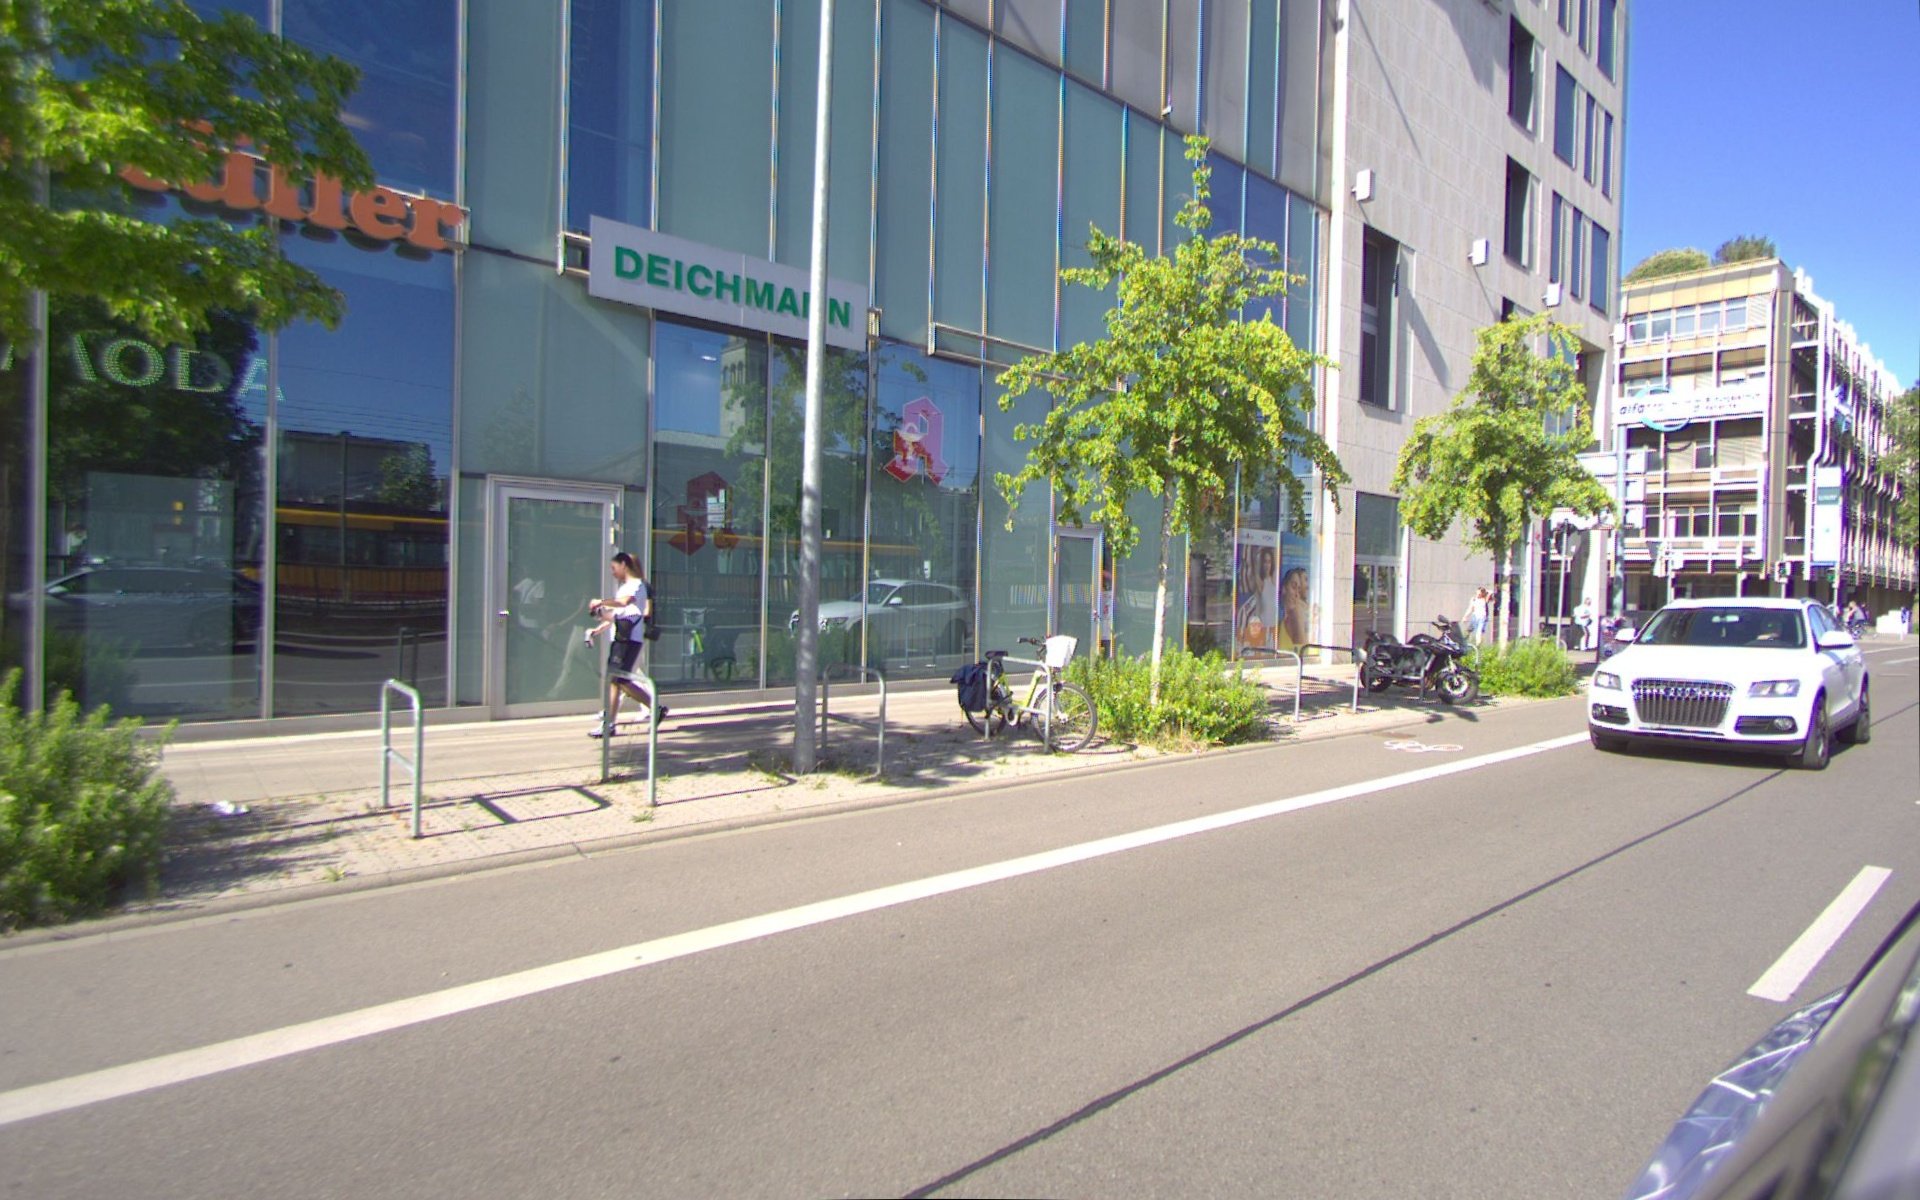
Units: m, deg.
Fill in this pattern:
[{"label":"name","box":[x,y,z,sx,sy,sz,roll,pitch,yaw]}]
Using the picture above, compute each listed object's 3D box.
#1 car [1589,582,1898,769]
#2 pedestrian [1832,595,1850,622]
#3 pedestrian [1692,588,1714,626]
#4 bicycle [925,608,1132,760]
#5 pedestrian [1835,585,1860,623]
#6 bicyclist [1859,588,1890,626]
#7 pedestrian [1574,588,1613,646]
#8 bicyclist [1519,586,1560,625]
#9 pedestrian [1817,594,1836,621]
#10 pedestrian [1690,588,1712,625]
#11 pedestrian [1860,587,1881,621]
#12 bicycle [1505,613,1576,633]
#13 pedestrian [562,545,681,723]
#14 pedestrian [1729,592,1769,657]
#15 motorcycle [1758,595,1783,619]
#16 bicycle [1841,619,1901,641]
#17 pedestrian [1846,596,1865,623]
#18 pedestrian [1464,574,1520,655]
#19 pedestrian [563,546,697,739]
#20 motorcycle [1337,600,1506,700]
[{"label":"car","box":[8.611,0.659,10.981,4.335,1.634,1.823,0,0,-41]},{"label":"pedestrian","box":[55.595,0.548,63.850,0.715,1.620,0.668,1,3,-39]},{"label":"pedestrian","box":[33.021,0.296,44.985,0.659,1.632,0.519,4,3,41]},{"label":"bicycle","box":[0.613,0.743,10.005,0.932,1.220,2.094,1,2,-34]},{"label":"pedestrian","box":[49.143,0.230,56.027,0.945,2.039,1.064,2,1,39]},{"label":"bicyclist","box":[41.917,0.333,46.405,0.844,1.709,0.705,-1,-2,28]},{"label":"pedestrian","box":[18.424,0.495,29.414,0.736,1.628,0.725,2,0,-39]},{"label":"bicyclist","box":[22.775,0.215,39.794,1.052,1.494,1.025,1,1,-36]},{"label":"pedestrian","box":[55.192,0.485,64.431,0.991,1.620,0.668,1,3,-40]},{"label":"pedestrian","box":[33.418,0.303,45.640,0.659,1.632,0.519,4,3,41]},{"label":"pedestrian","box":[55.969,0.262,62.197,0.946,2.039,1.063,1,0,42]},{"label":"bicycle","box":[22.793,0.884,39.773,1.052,0.679,2.200,1,1,-36]},{"label":"pedestrian","box":[-3.407,0.315,10.191,0.885,1.678,0.707,1,3,-45]},{"label":"pedestrian","box":[21.608,0.665,27.707,0.686,1.723,0.658,1,3,-42]},{"label":"motorcycle","box":[51.842,0.435,64.700,2.084,1.459,0.825,1,1,-40]},{"label":"bicycle","box":[41.794,1.358,46.451,1.905,1.006,0.705,-1,-2,28]},{"label":"pedestrian","box":[55.868,0.602,63.135,0.715,1.620,0.668,1,3,-39]},{"label":"pedestrian","box":[12.473,0.320,23.716,1.047,1.823,0.729,1,3,-40]},{"label":"pedestrian","box":[-3.090,0.360,9.468,0.885,1.678,0.822,0,3,-44]},{"label":"motorcycle","box":[7.108,0.724,15.699,0.886,1.340,2.196,1,2,-36]}]
